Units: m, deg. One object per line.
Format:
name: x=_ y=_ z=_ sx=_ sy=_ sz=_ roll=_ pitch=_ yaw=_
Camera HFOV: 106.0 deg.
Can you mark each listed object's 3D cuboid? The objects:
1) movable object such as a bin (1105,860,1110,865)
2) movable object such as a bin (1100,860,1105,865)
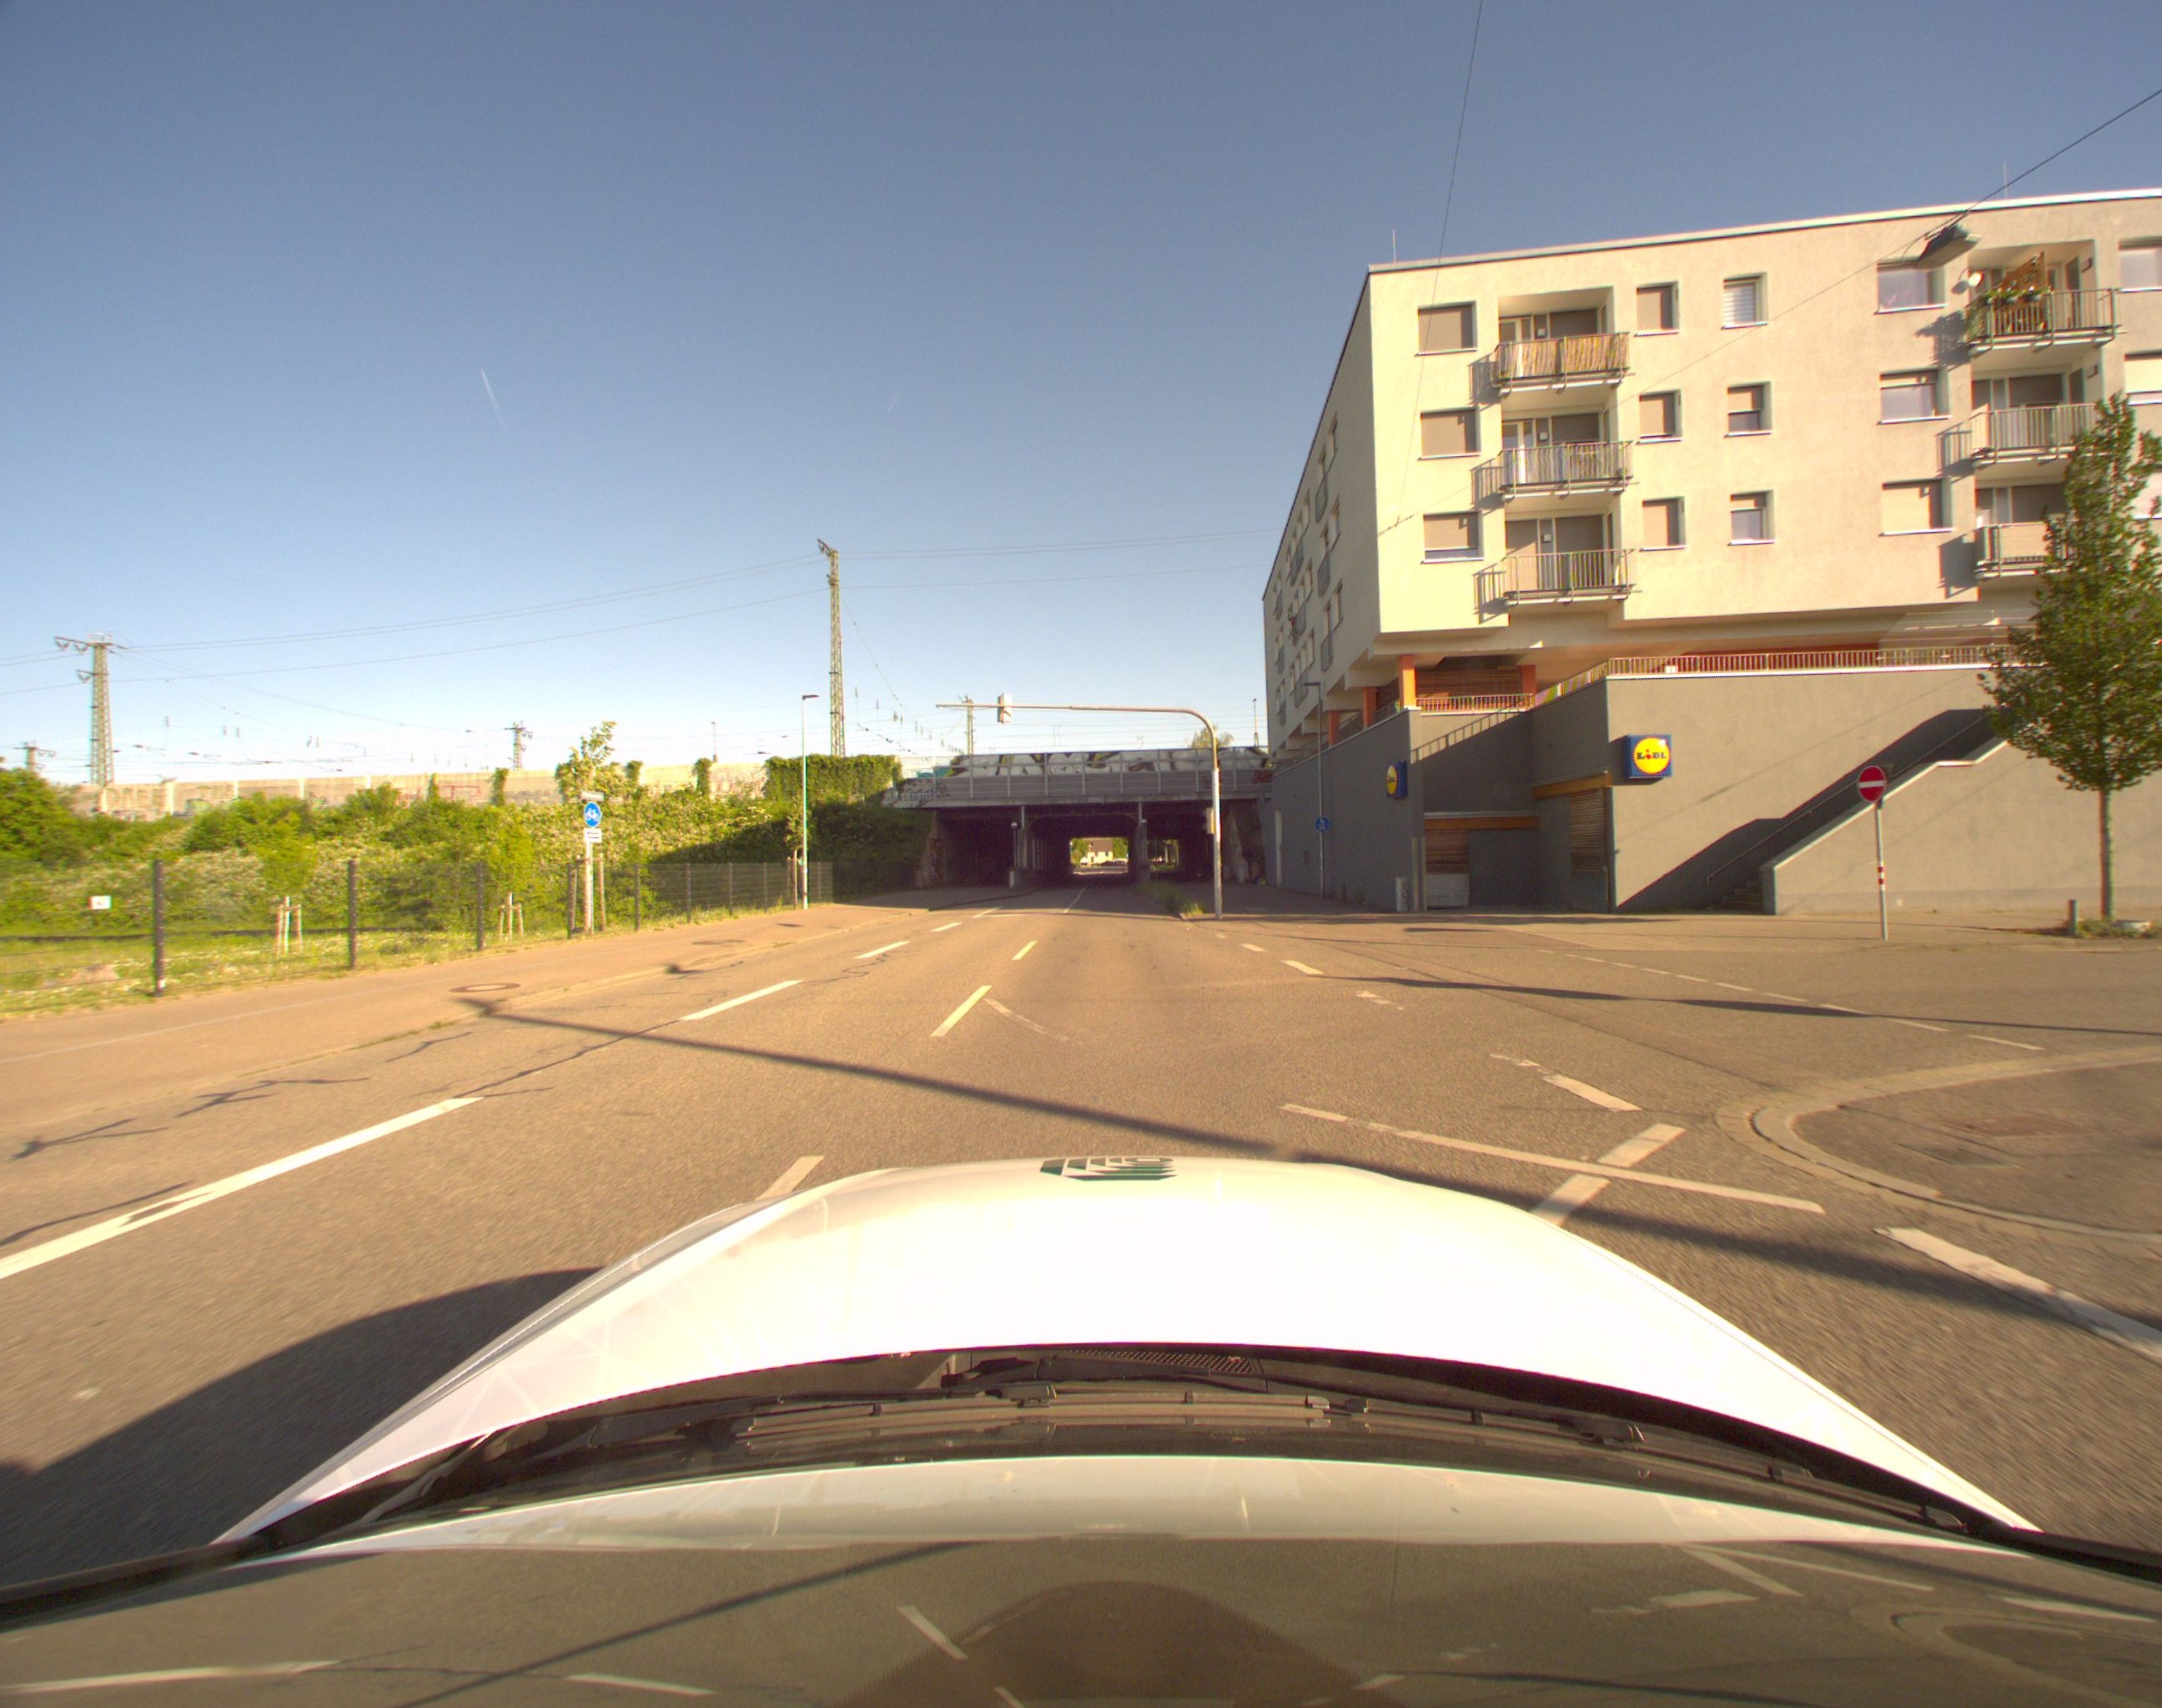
movable object such as a bin: x=7.360 y=2.412 z=225.929 sx=1.362 sy=1.418 sz=1.064 roll=1 pitch=-2 yaw=-5
movable object such as a bin: x=5.943 y=2.397 z=225.805 sx=1.362 sy=1.418 sz=1.064 roll=1 pitch=-2 yaw=-5
